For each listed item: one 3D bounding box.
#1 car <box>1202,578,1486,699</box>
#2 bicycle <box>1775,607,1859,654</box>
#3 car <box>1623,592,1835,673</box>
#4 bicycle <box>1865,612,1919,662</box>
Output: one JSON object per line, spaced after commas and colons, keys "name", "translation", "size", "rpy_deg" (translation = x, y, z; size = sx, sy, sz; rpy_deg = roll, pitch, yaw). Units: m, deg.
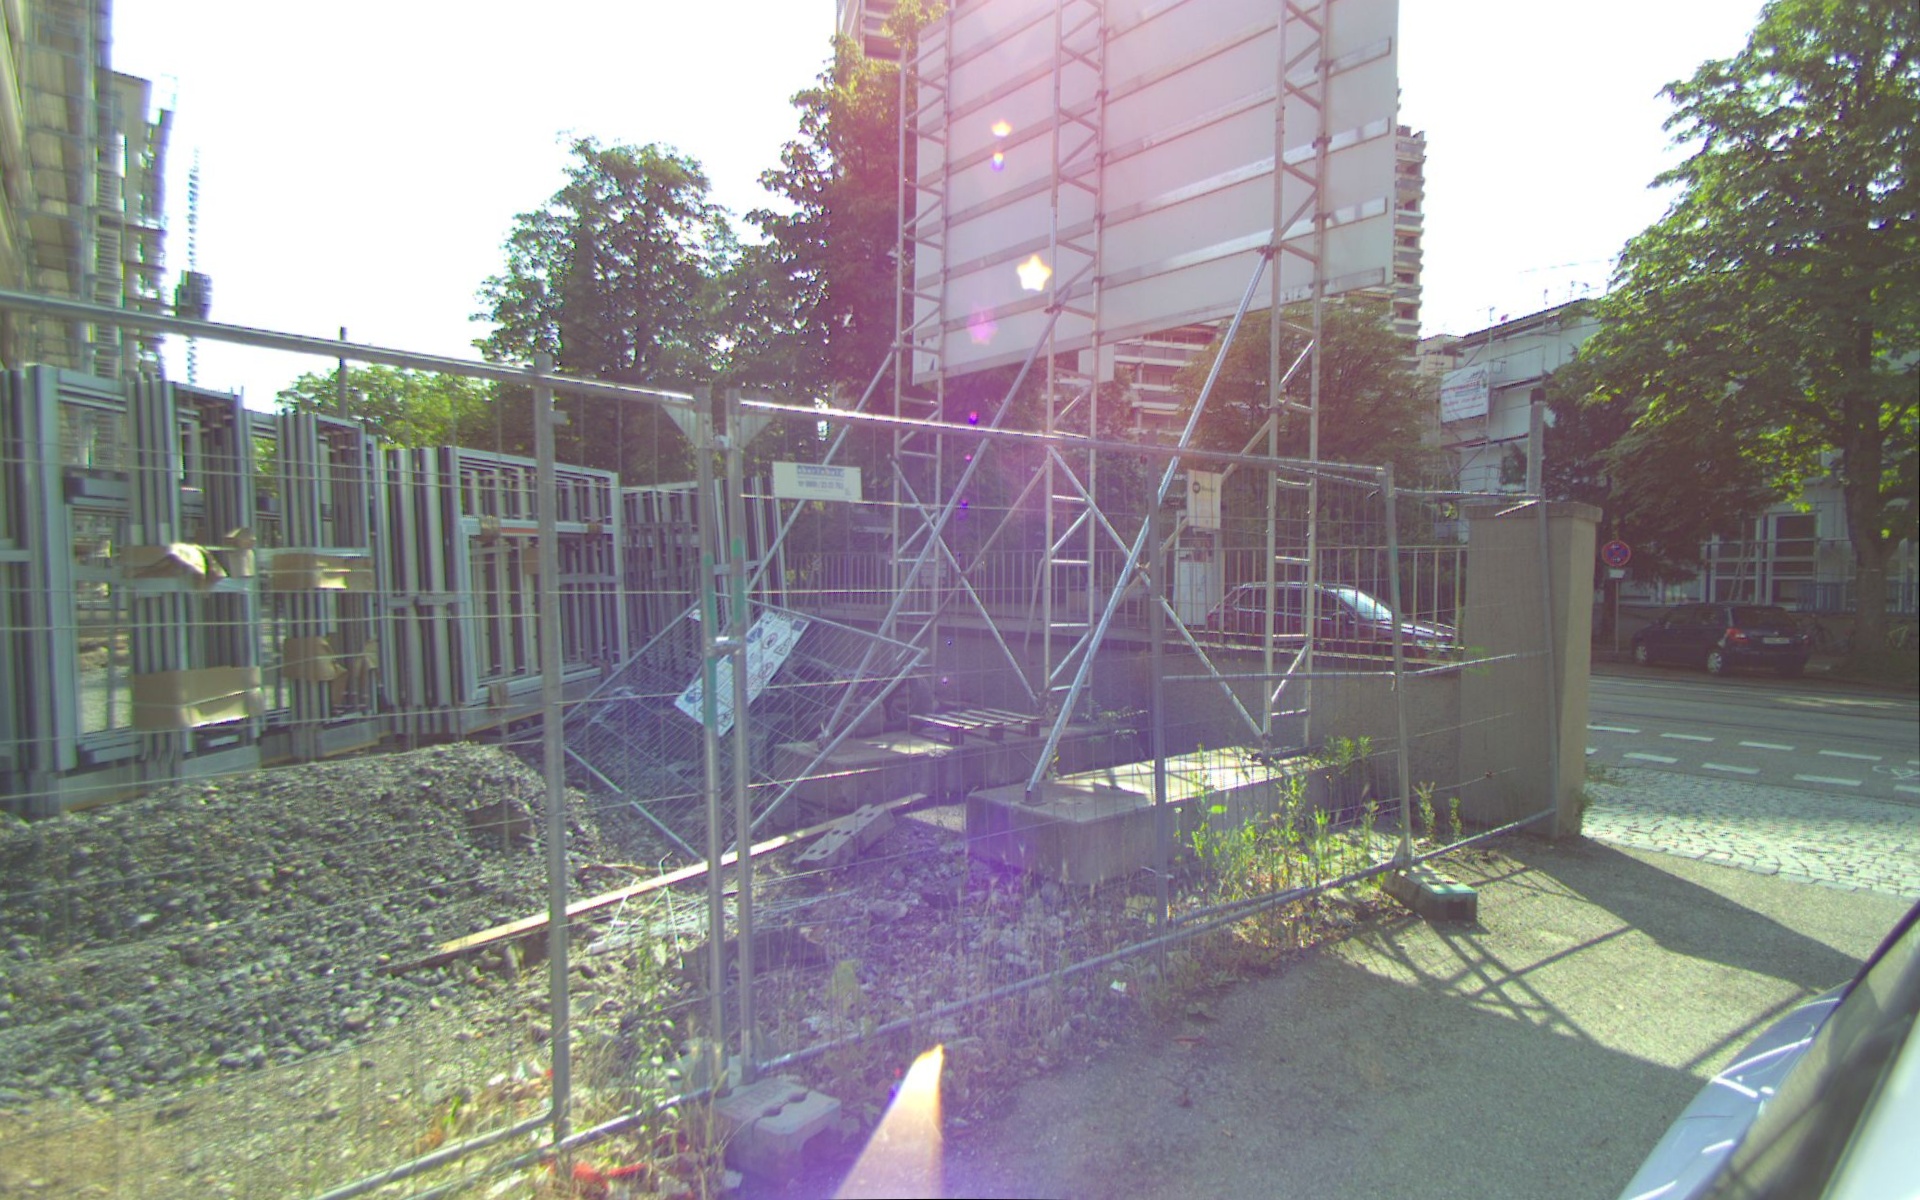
{"name": "car", "translation": [6.045, 0.499, 16.298], "size": [1.650, 1.631, 3.965], "rpy_deg": [-1, 3, -41]}
{"name": "bicycle", "translation": [22.735, 0.793, 26.848], "size": [2.014, 1.101, 0.498], "rpy_deg": [-3, -1, -11]}
{"name": "car", "translation": [16.224, 0.641, 21.648], "size": [1.730, 1.481, 3.992], "rpy_deg": [-4, -1, 7]}
{"name": "bicycle", "translation": [23.397, 0.889, 24.899], "size": [2.014, 1.101, 0.498], "rpy_deg": [-3, -1, -11]}
